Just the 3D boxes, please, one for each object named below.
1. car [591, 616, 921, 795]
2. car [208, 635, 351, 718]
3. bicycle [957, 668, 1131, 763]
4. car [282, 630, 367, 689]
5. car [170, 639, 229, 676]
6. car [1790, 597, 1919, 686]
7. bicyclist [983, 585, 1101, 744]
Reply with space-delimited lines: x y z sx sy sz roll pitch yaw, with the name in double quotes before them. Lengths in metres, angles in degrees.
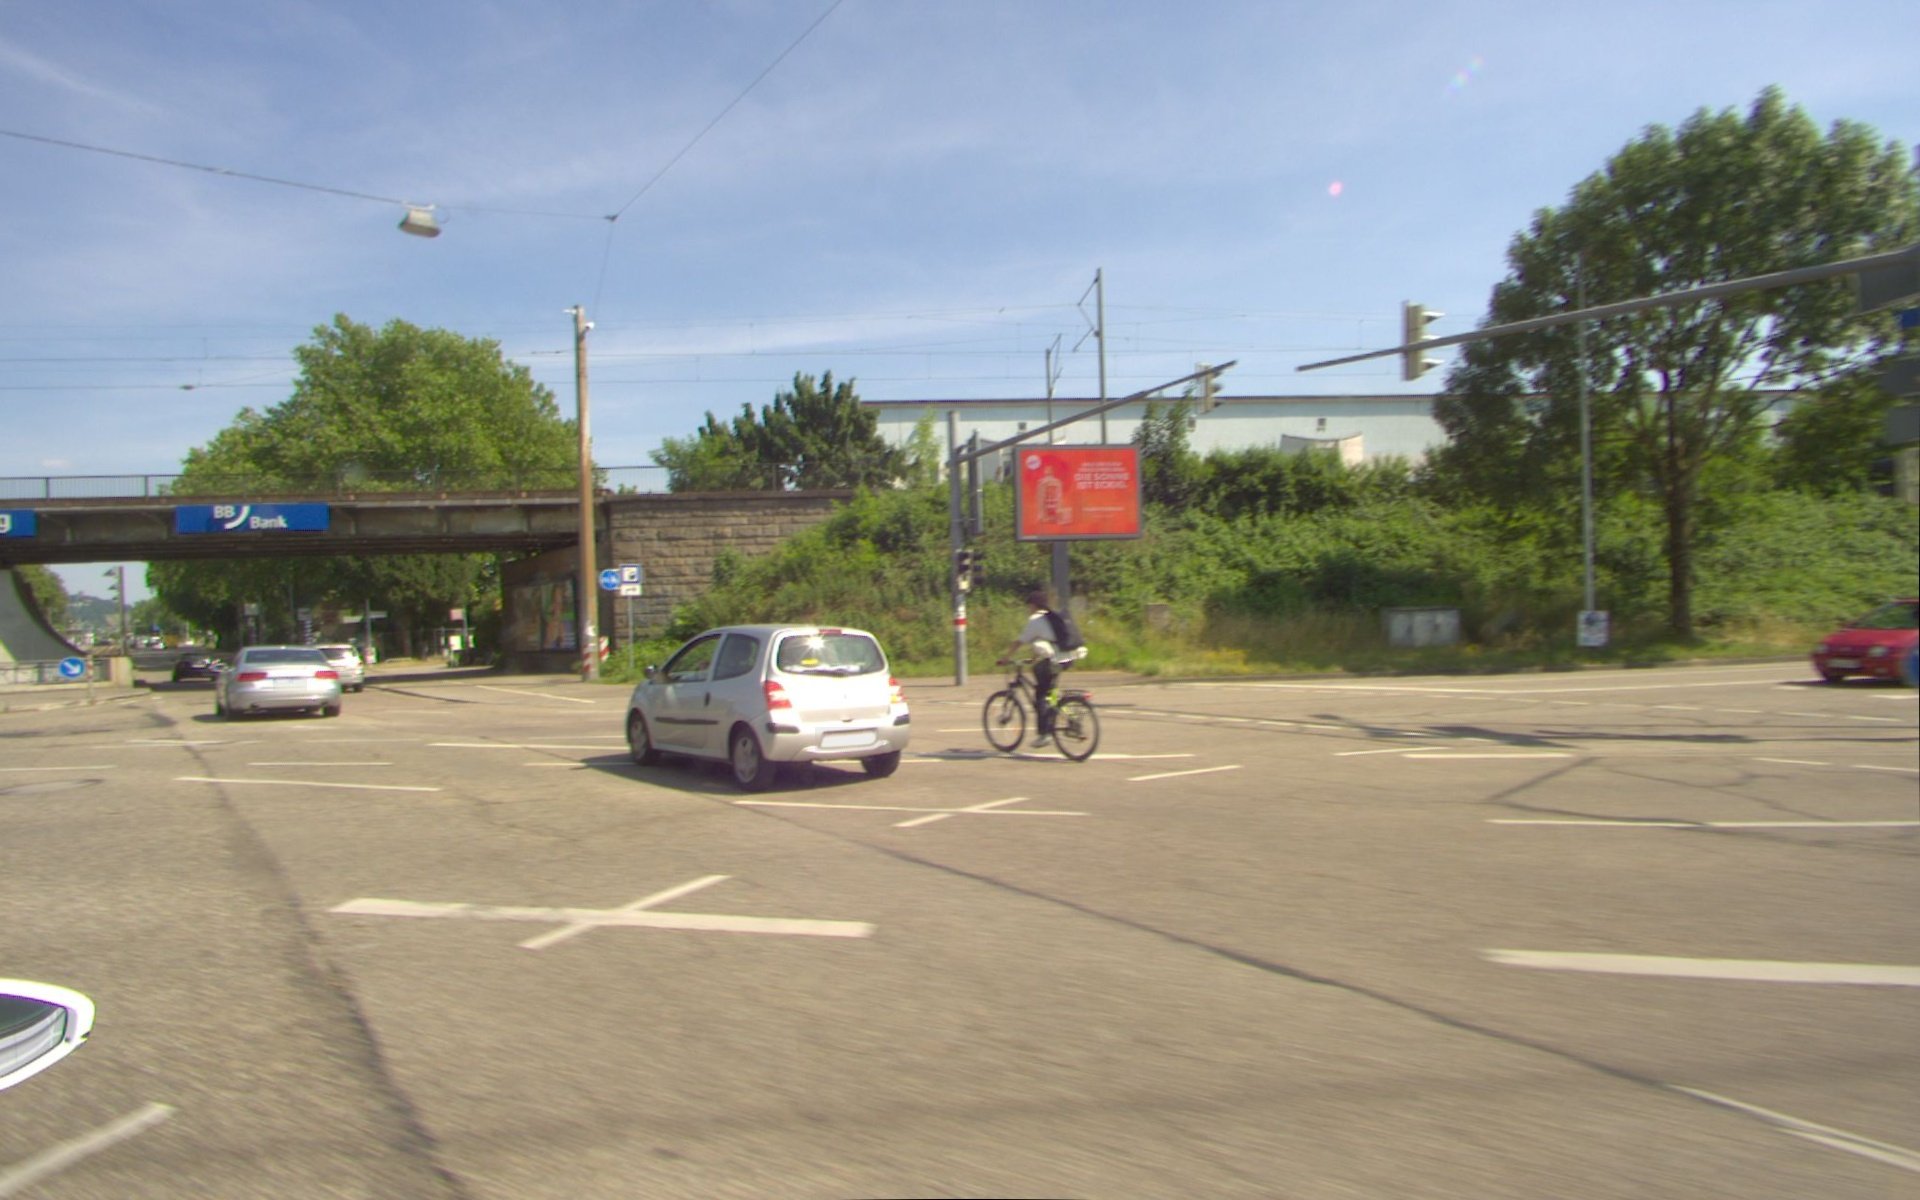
"car" -2.247 0.946 10.266 1.697 1.469 3.862 0 -2 -40
"car" -14.204 1.494 20.791 1.979 1.527 4.445 1 -2 -40
"bicycle" 0.891 1.239 11.134 0.809 0.904 1.910 1 -2 -41
"car" -21.075 1.935 33.160 1.895 1.792 3.968 -1 -2 -40
"car" -35.756 2.670 47.069 1.924 1.622 3.965 1 -2 -41
"car" 16.557 0.683 16.727 3.922 1.410 1.717 0 -2 1
"bicyclist" 0.906 0.699 11.124 0.798 1.655 1.059 1 -2 -41
